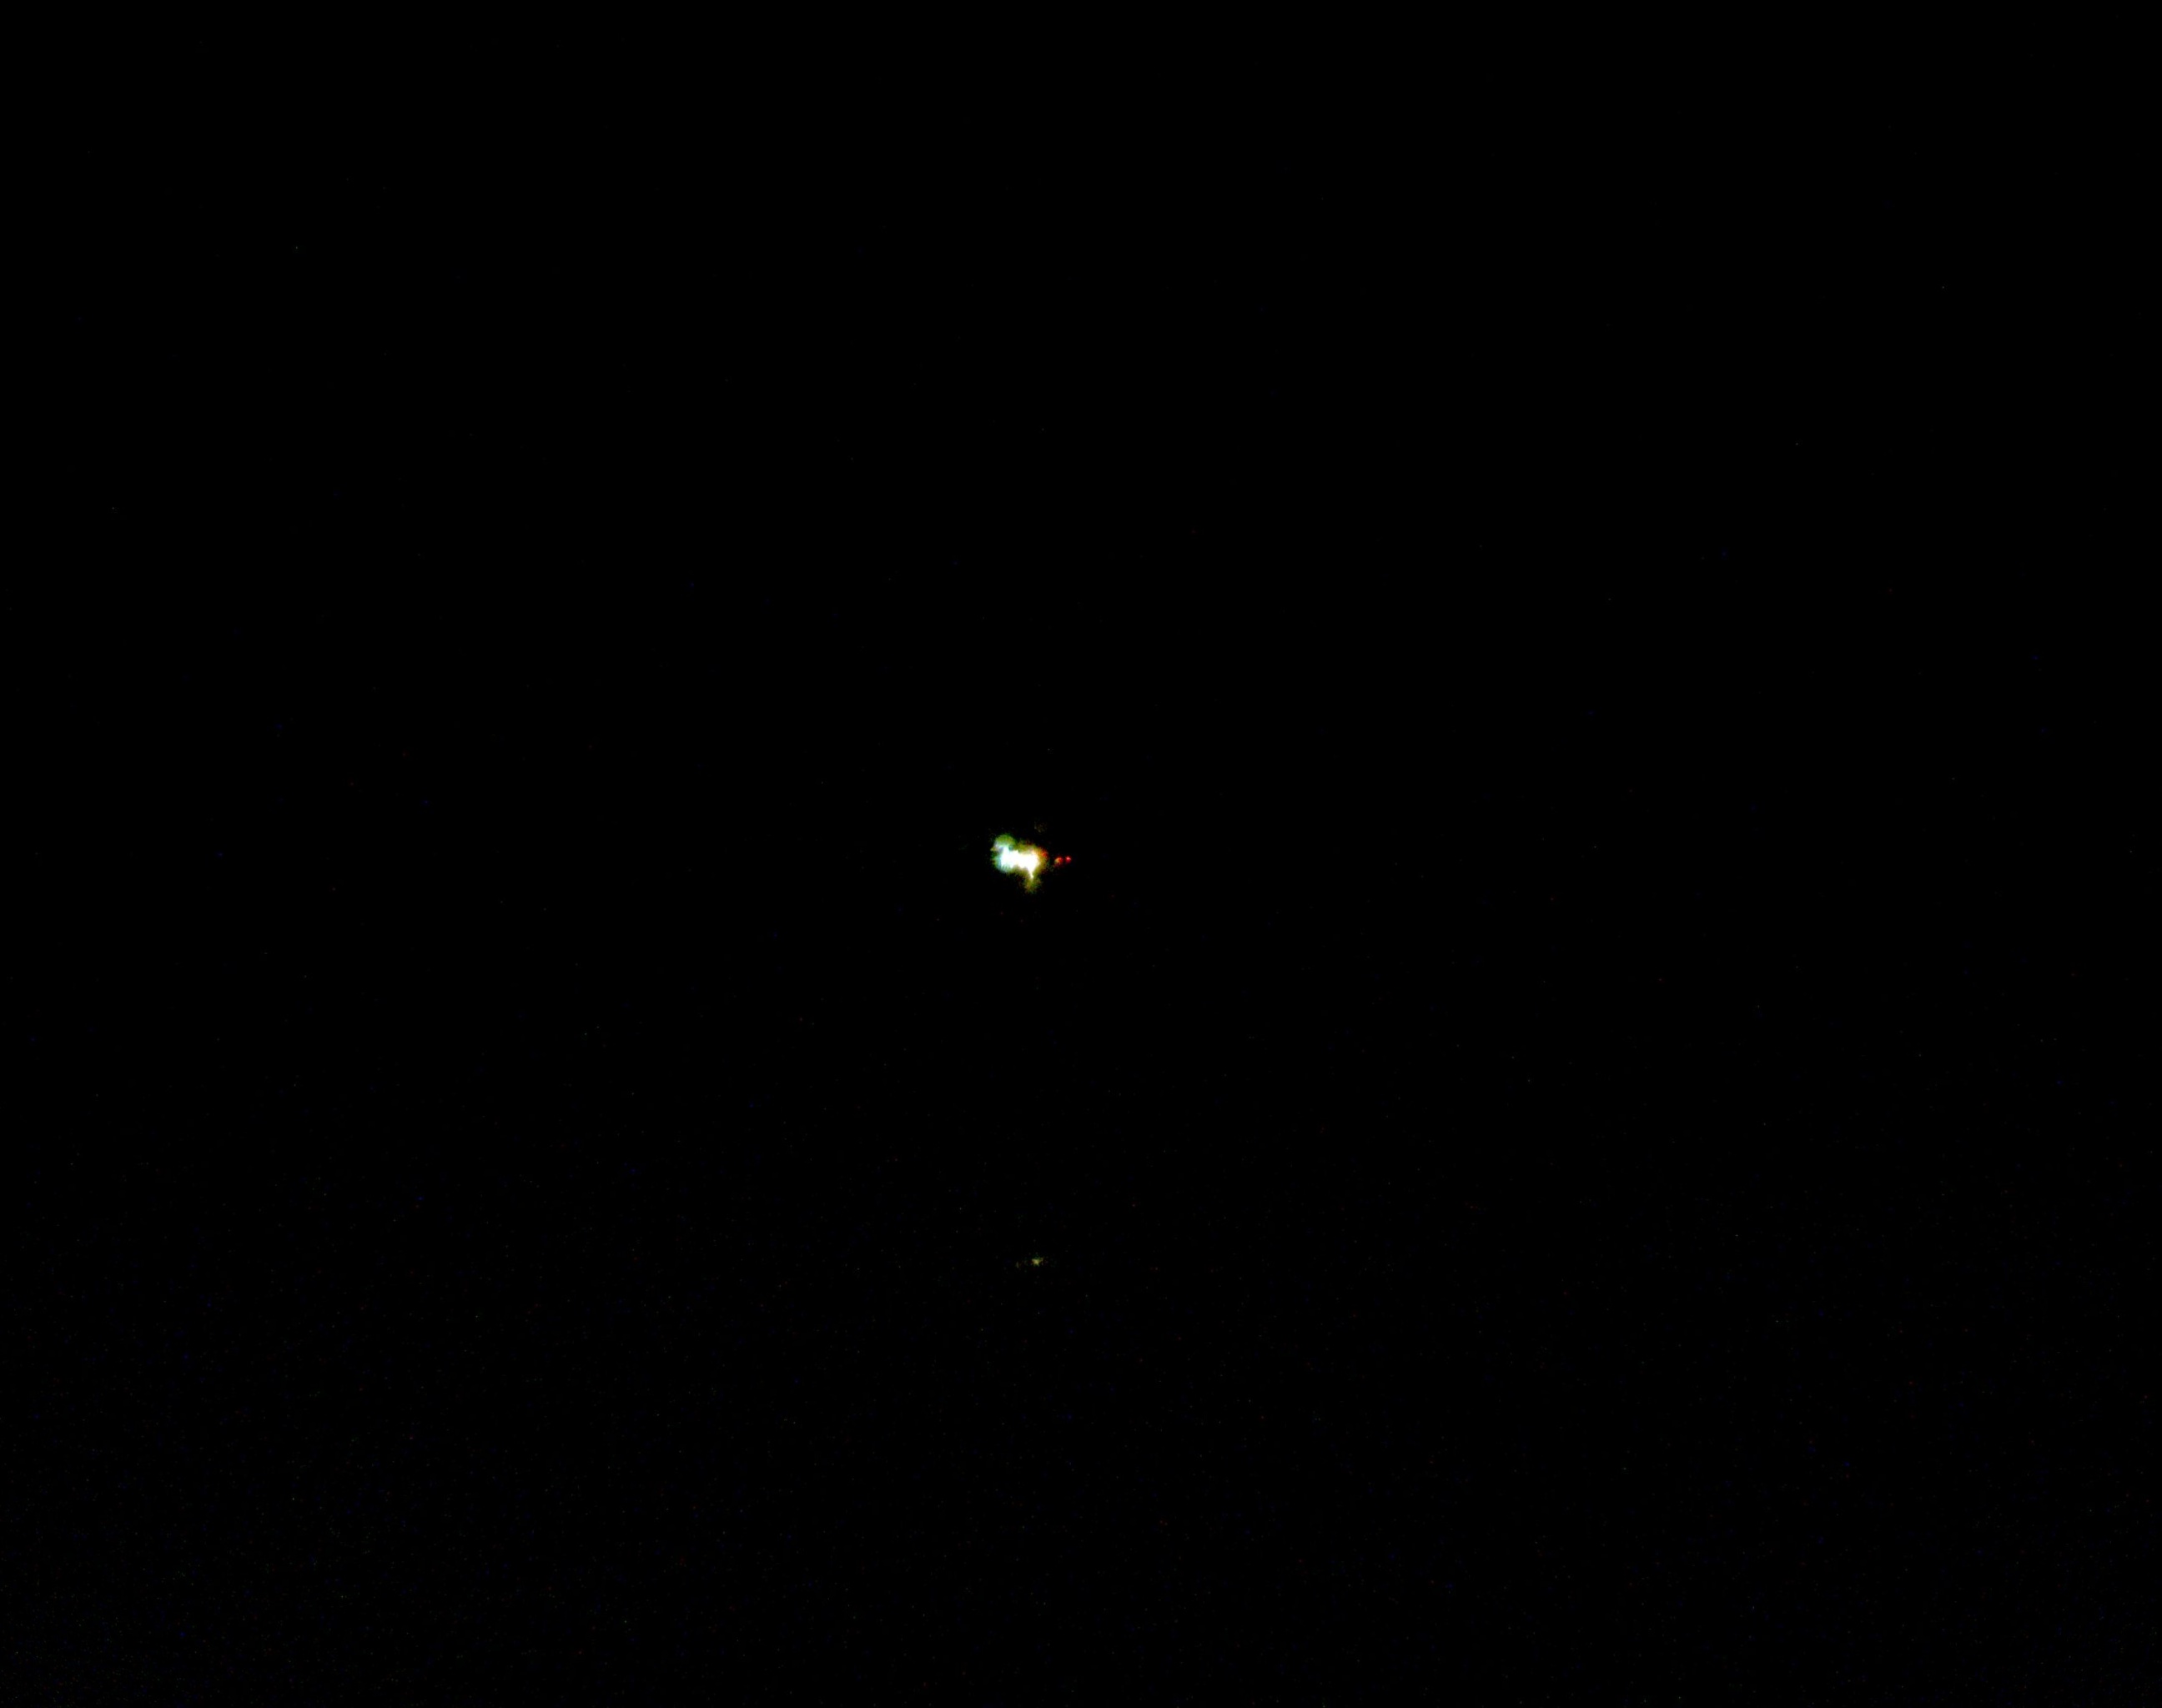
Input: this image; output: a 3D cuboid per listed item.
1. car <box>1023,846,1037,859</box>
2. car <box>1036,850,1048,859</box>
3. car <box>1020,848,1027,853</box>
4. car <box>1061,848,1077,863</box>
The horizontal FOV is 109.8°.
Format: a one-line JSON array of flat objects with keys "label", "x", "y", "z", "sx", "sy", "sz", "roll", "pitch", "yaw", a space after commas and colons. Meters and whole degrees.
[{"label": "car", "x": -8.081, "y": -0.213, "z": 120.491, "sx": 2.000, "sy": 2.002, "sz": 3.996, "roll": 0, "pitch": 2, "yaw": -8}, {"label": "car", "x": -7.480, "y": 0.005, "z": 144.932, "sx": 1.999, "sy": 1.615, "sz": 3.997, "roll": -2, "pitch": 1, "yaw": -5}, {"label": "car", "x": -14.999, "y": -0.950, "z": 197.931, "sx": 1.601, "sy": 1.394, "sz": 3.467, "roll": -1, "pitch": 2, "yaw": -8}, {"label": "car", "x": -1.742, "y": 0.230, "z": 106.272, "sx": 1.999, "sy": 2.002, "sz": 4.273, "roll": 0, "pitch": 0, "yaw": -4}]
